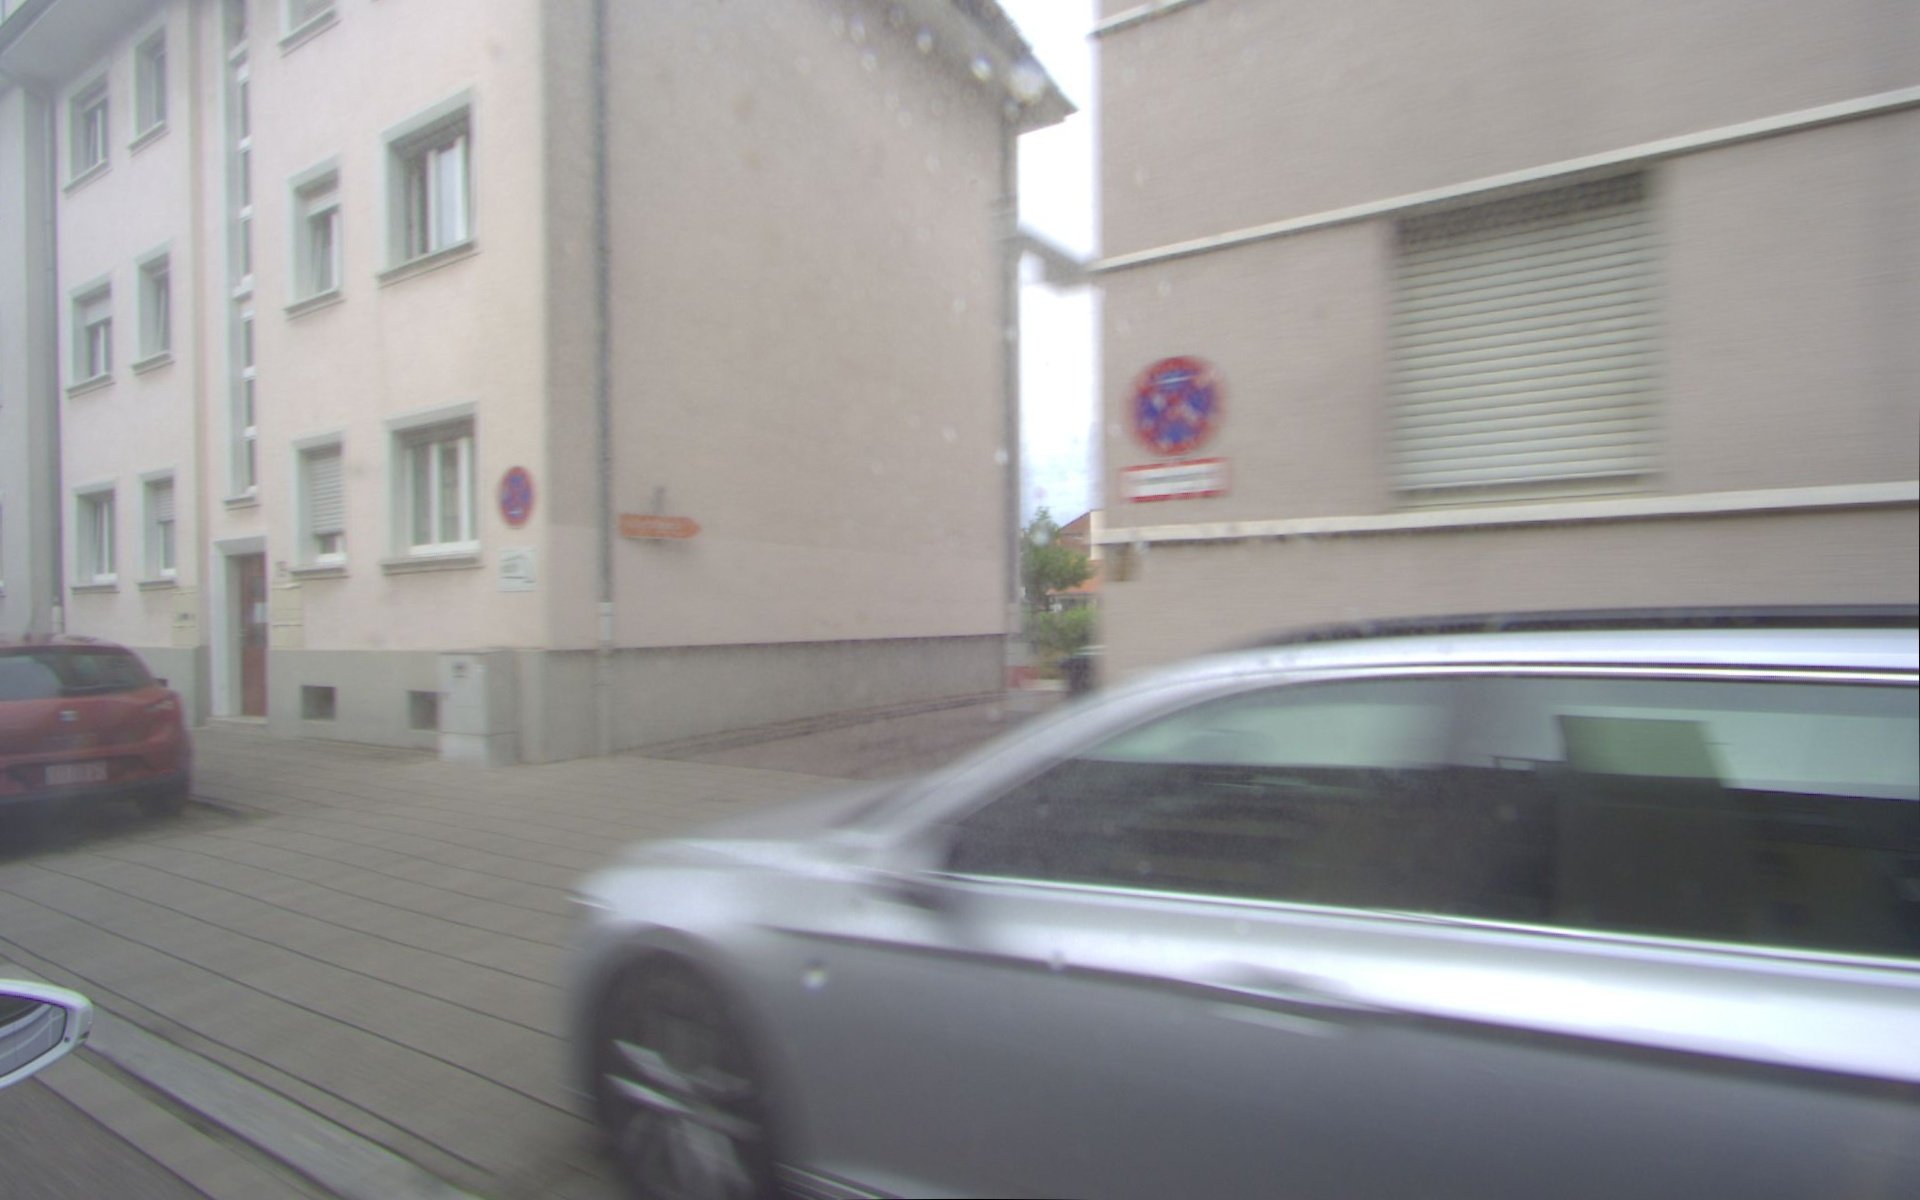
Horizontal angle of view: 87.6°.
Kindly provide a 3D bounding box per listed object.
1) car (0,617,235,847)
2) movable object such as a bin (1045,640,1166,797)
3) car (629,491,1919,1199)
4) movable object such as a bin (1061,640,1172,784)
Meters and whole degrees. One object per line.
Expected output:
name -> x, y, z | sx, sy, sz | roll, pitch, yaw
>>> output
car -> -7.579, 0.894, 7.830 | 3.880, 1.428, 1.749 | -1, 1, 32
movable object such as a bin -> 1.061, 0.830, 7.295 | 0.696, 1.056, 0.547 | -1, 0, 35
car -> 1.330, 0.620, 2.182 | 3.982, 1.483, 1.784 | -1, -1, 32
movable object such as a bin -> 1.234, 0.852, 7.884 | 0.696, 1.056, 0.547 | -1, 0, 35
